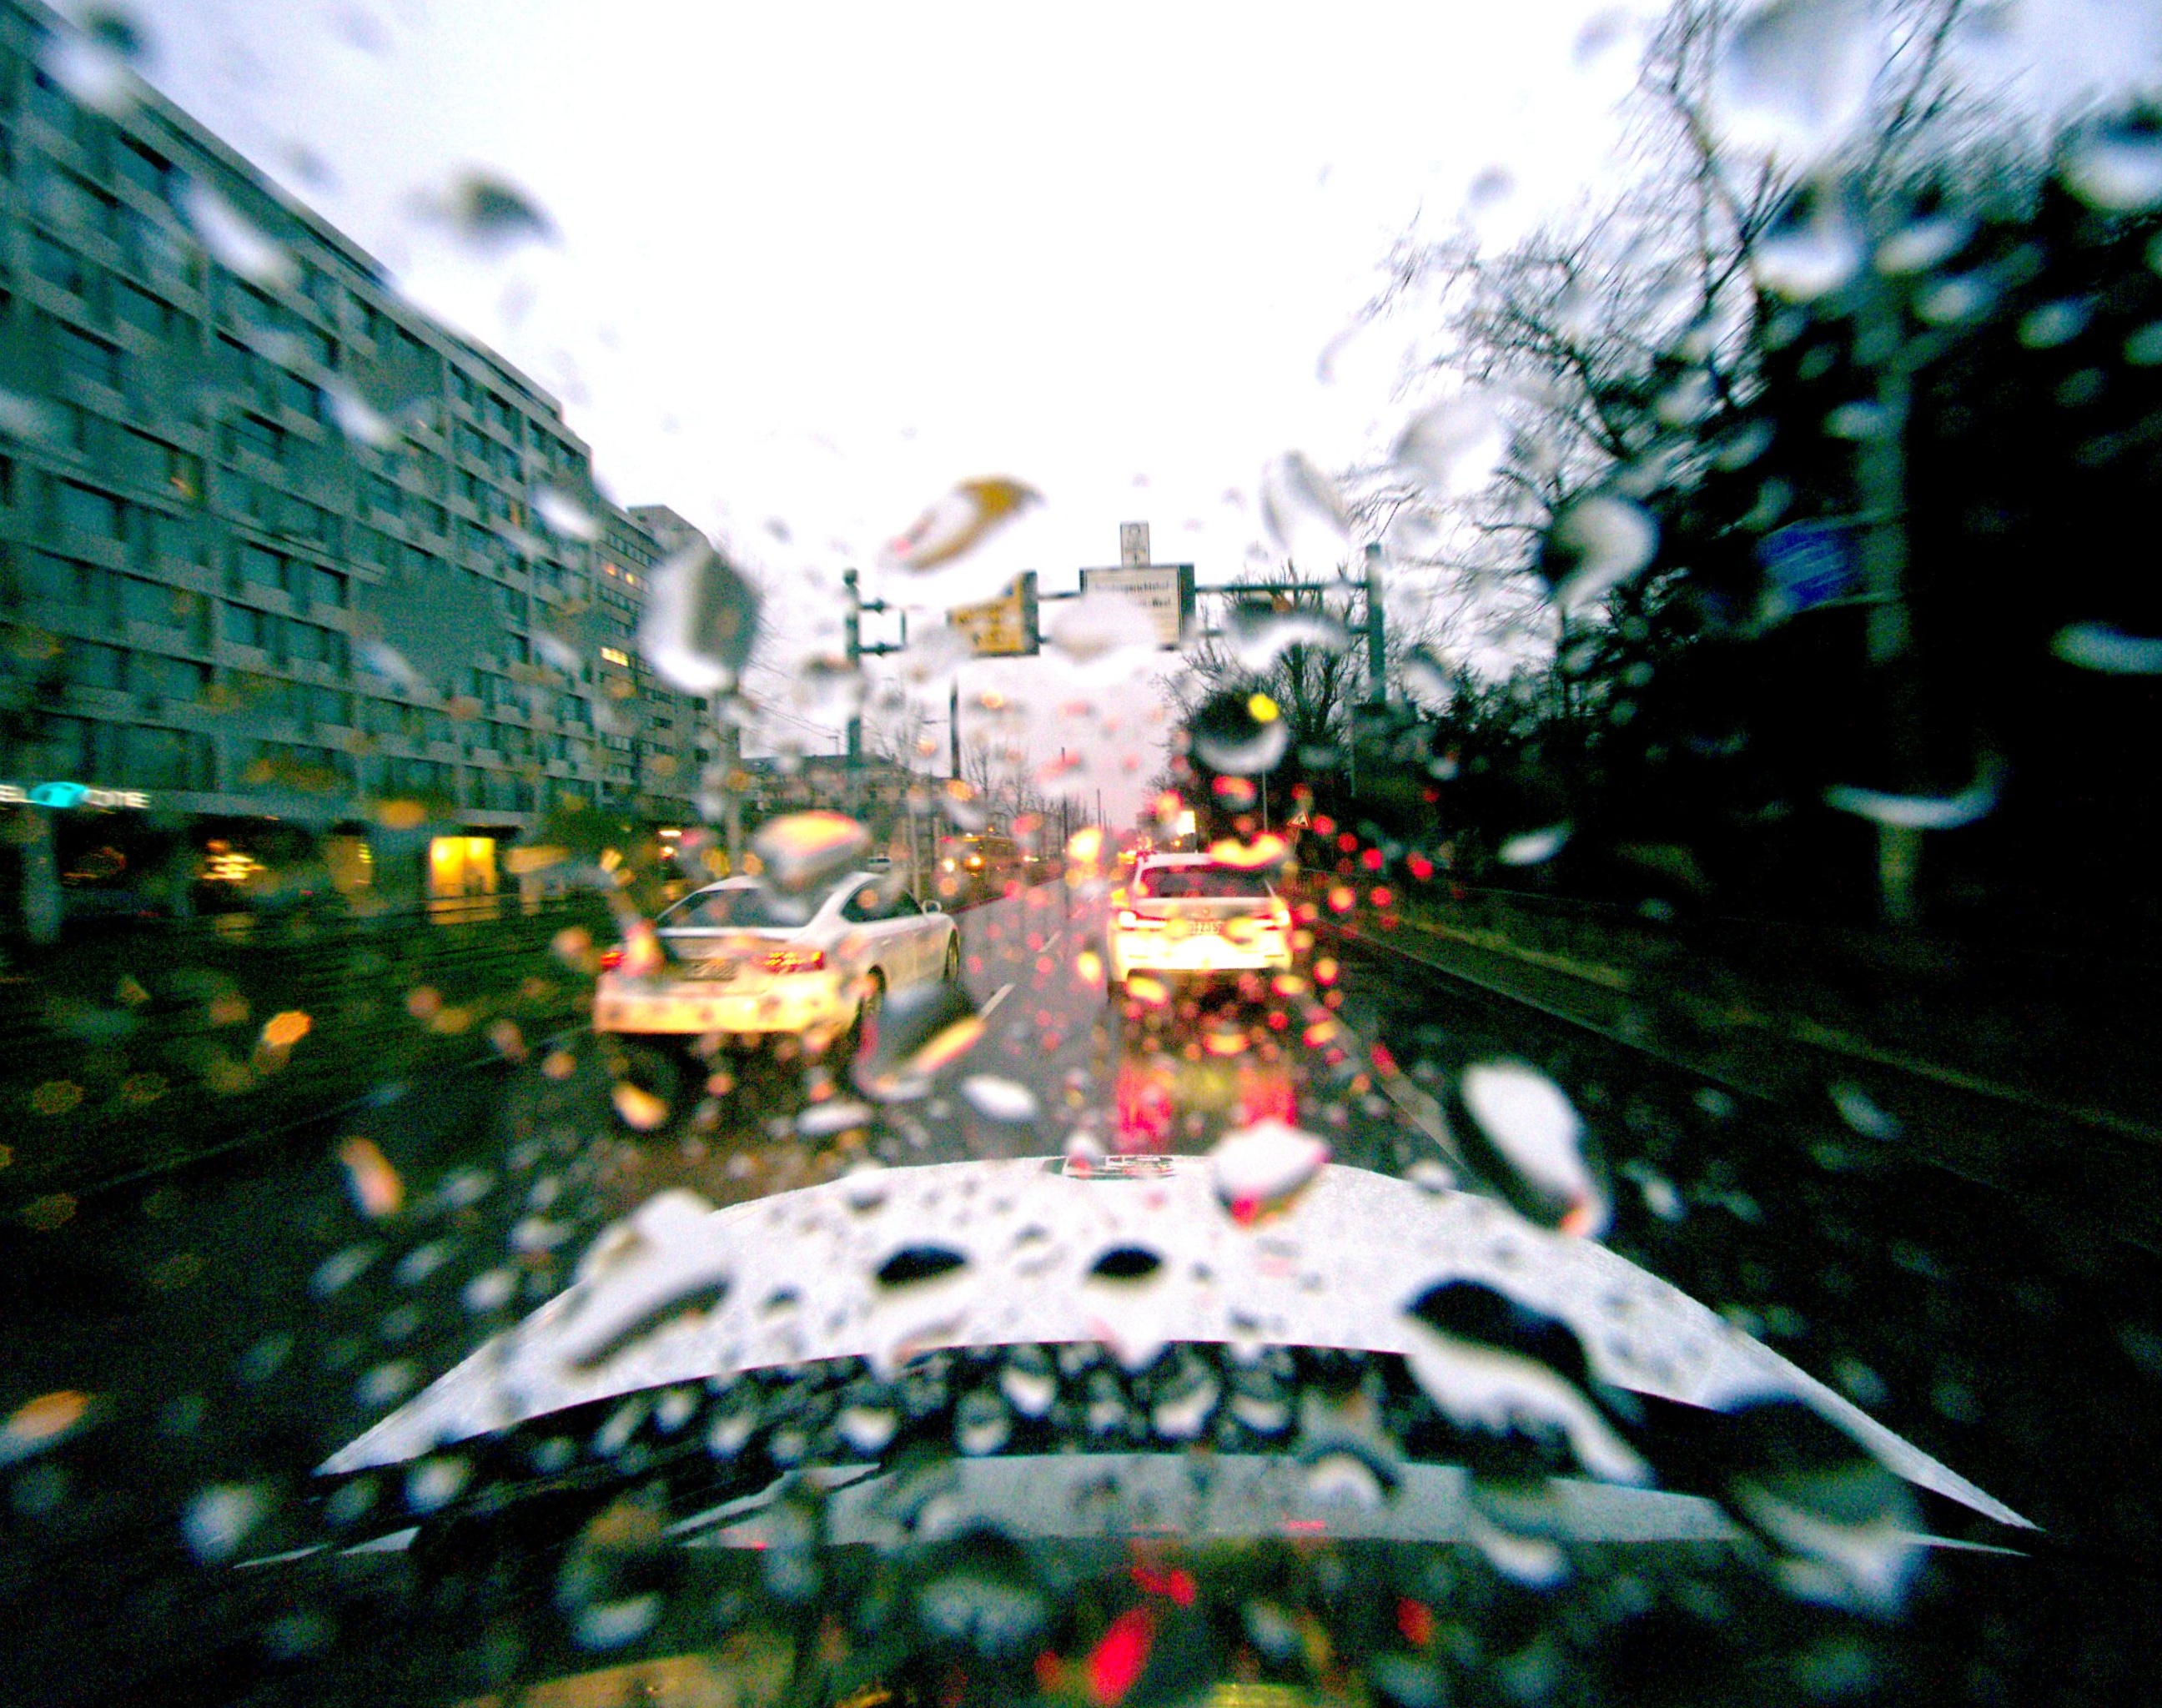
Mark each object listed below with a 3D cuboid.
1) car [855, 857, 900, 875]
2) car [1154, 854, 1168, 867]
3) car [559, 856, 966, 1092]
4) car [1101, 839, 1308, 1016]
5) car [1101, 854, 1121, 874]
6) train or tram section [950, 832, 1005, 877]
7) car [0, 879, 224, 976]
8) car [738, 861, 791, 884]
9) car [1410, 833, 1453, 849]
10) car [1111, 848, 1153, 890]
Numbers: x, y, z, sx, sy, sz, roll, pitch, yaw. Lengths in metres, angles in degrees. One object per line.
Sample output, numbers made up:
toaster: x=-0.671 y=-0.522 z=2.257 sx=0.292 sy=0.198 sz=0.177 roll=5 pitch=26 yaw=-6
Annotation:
car: x=-24.694 y=1.477 z=98.770 sx=4.907 sy=2.013 sz=1.977 roll=-2 pitch=0 yaw=-38
car: x=12.494 y=1.024 z=127.050 sx=1.985 sy=2.013 sz=4.004 roll=-1 pitch=0 yaw=4
car: x=-2.323 y=0.769 z=7.269 sx=1.752 sy=1.469 sz=4.255 roll=-1 pitch=0 yaw=3
car: x=1.149 y=0.658 z=9.365 sx=1.754 sy=1.552 sz=4.251 roll=-1 pitch=0 yaw=0
car: x=3.177 y=1.019 z=84.856 sx=1.985 sy=2.013 sz=4.004 roll=-1 pitch=0 yaw=4
train or tram section: x=-8.762 y=0.042 z=70.296 sx=2.830 sy=3.504 sz=9.167 roll=-3 pitch=0 yaw=4
car: x=-19.011 y=1.280 z=14.879 sx=1.994 sy=1.462 sz=5.076 roll=-1 pitch=0 yaw=-11
car: x=-27.026 y=1.544 z=69.613 sx=3.838 sy=1.797 sz=1.888 roll=-2 pitch=0 yaw=-38
car: x=37.664 y=-1.359 z=87.609 sx=1.824 sy=1.662 sz=3.960 roll=0 pitch=0 yaw=-32
car: x=2.548 y=0.725 z=40.921 sx=1.985 sy=2.013 sz=4.004 roll=-1 pitch=0 yaw=4
